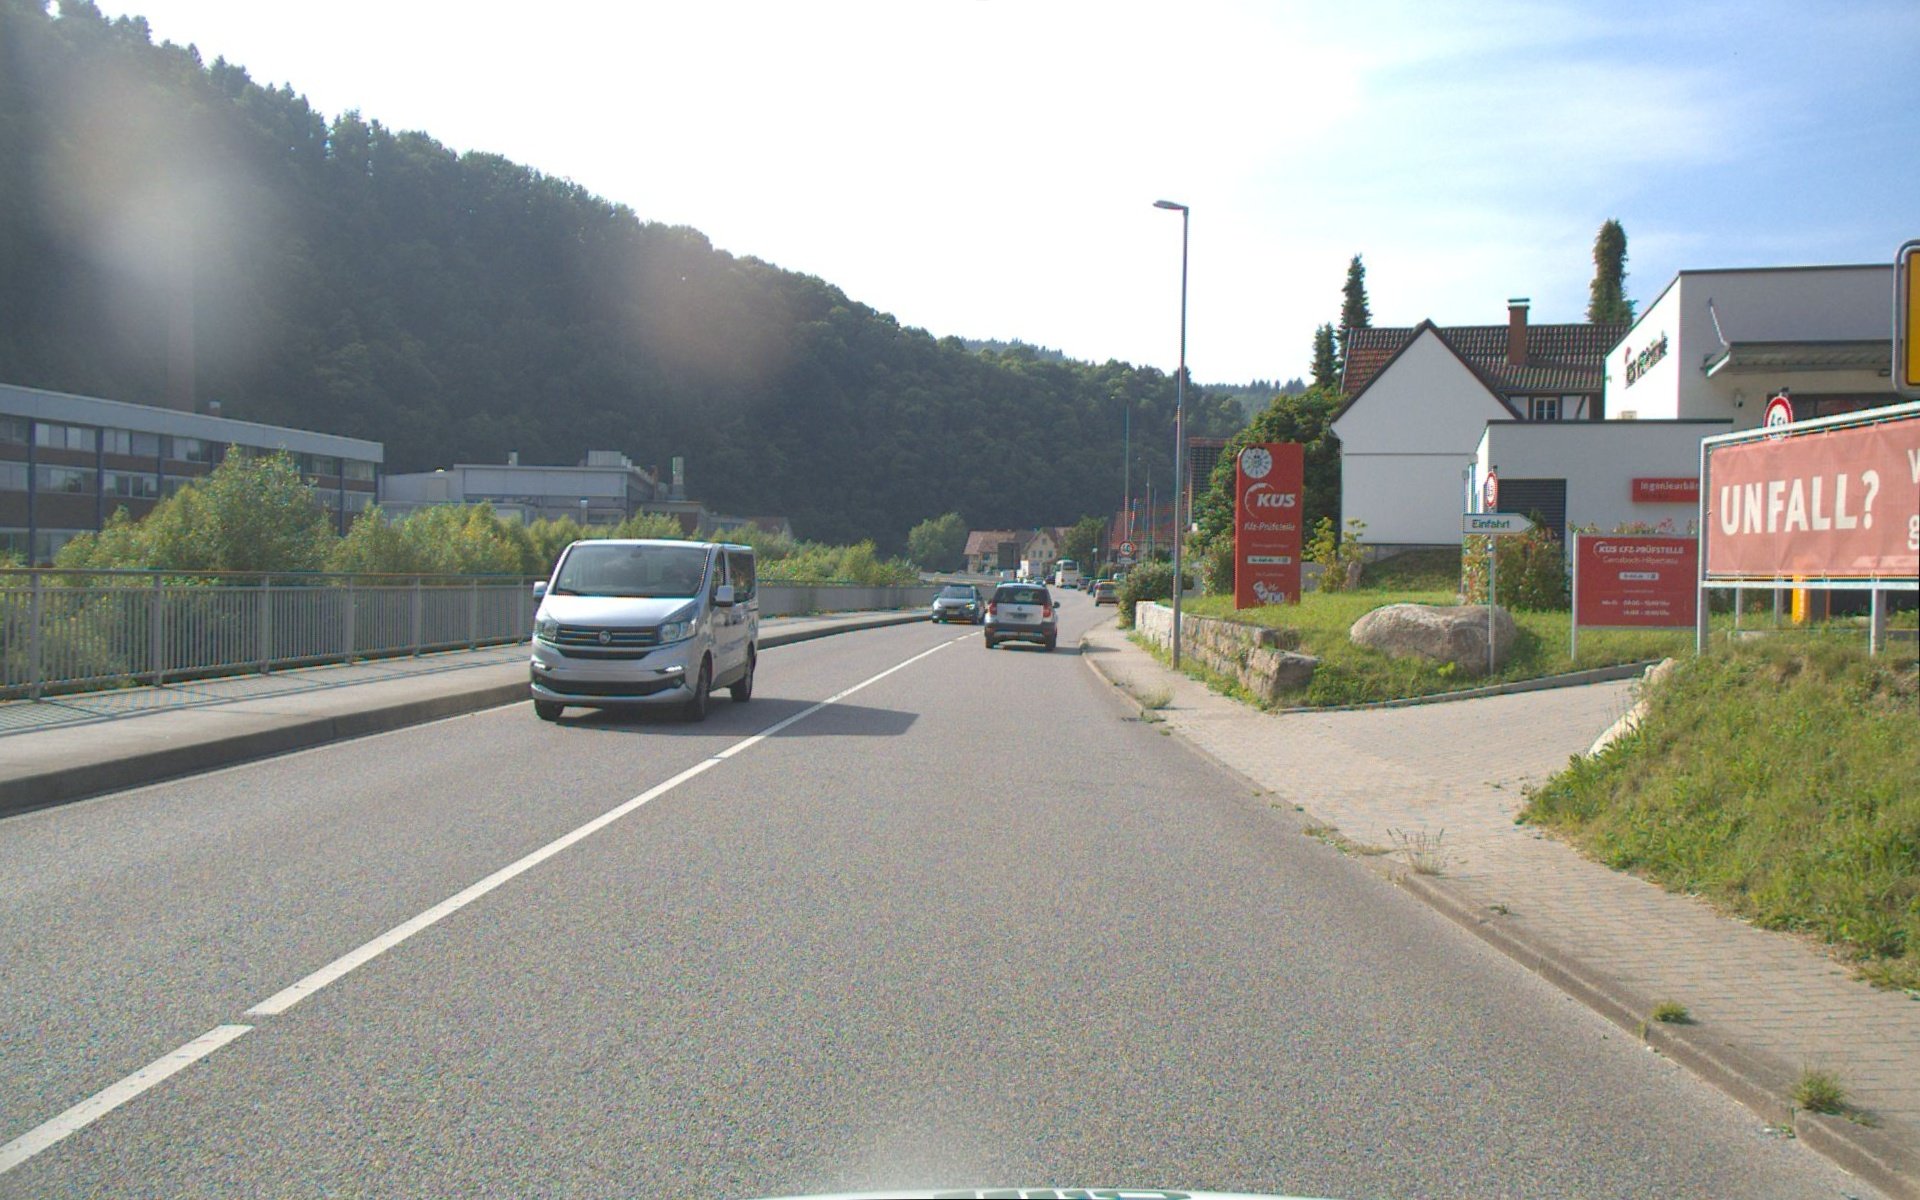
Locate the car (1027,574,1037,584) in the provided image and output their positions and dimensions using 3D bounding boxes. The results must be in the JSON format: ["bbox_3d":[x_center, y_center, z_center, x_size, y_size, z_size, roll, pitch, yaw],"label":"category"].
[{"bbox_3d":[10.432,-3.003,238.523,1.403,1.407,3.136,1,2,2],"label":"car"}]

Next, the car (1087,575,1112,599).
[{"bbox_3d":[9.304,-0.843,110.224,1.587,1.568,3.280,1,0,6],"label":"car"}]

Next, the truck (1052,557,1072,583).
[{"bbox_3d":[13.988,-4.204,227.752,2.672,3.433,6.482,1,2,3],"label":"truck"}]

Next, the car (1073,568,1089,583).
[{"bbox_3d":[14.444,-2.926,197.558,1.638,1.783,3.451,1,2,7],"label":"car"}]

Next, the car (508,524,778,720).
[{"bbox_3d":[-3.540,0.221,19.533,1.879,2.002,5.148,0,0,4],"label":"car"}]

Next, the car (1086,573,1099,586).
[{"bbox_3d":[13.796,-2.168,172.584,1.335,1.300,3.084,1,0,4],"label":"car"}]

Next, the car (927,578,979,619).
[{"bbox_3d":[-0.244,-0.047,64.790,1.775,1.510,4.800,1,0,3],"label":"car"}]

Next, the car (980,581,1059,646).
[{"bbox_3d":[1.589,0.308,42.780,1.821,1.571,4.376,1,1,5],"label":"car"}]
